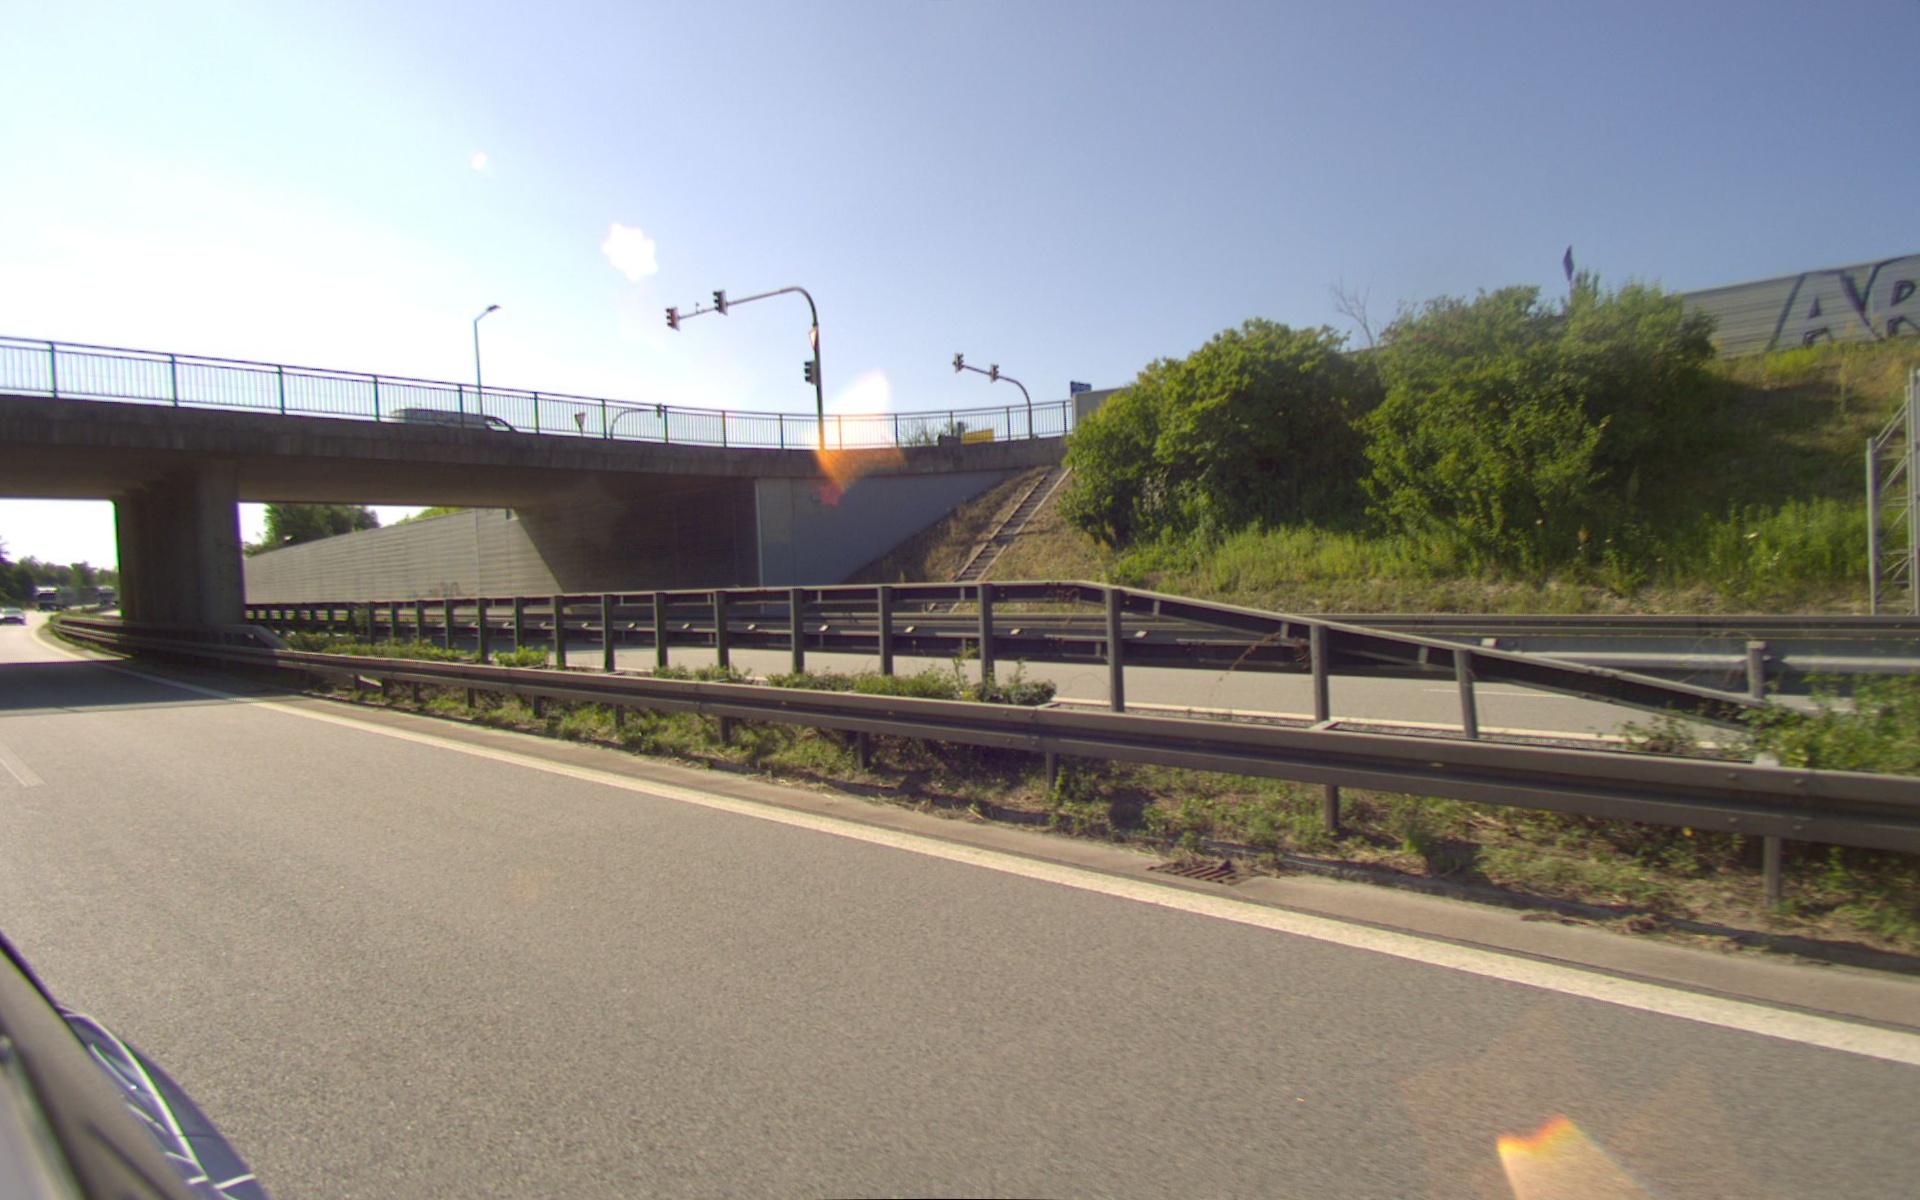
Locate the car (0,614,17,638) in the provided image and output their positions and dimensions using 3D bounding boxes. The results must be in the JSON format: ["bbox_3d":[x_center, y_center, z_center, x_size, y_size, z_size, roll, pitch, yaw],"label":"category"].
[{"bbox_3d":[-83.871,2.254,88.533,1.970,2.029,4.604,3,-3,-43],"label":"car"}]

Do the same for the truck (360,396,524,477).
[{"bbox_3d":[-18.302,-5.709,35.901,2.001,2.183,4.802,0,1,44],"label":"truck"}]

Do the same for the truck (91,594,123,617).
[{"bbox_3d":[-163.625,1.034,194.192,3.380,4.243,12.117,-1,1,-34],"label":"truck"}]

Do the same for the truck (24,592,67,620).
[{"bbox_3d":[-144.360,0.849,159.899,3.380,4.243,12.117,-1,1,-34],"label":"truck"}]
